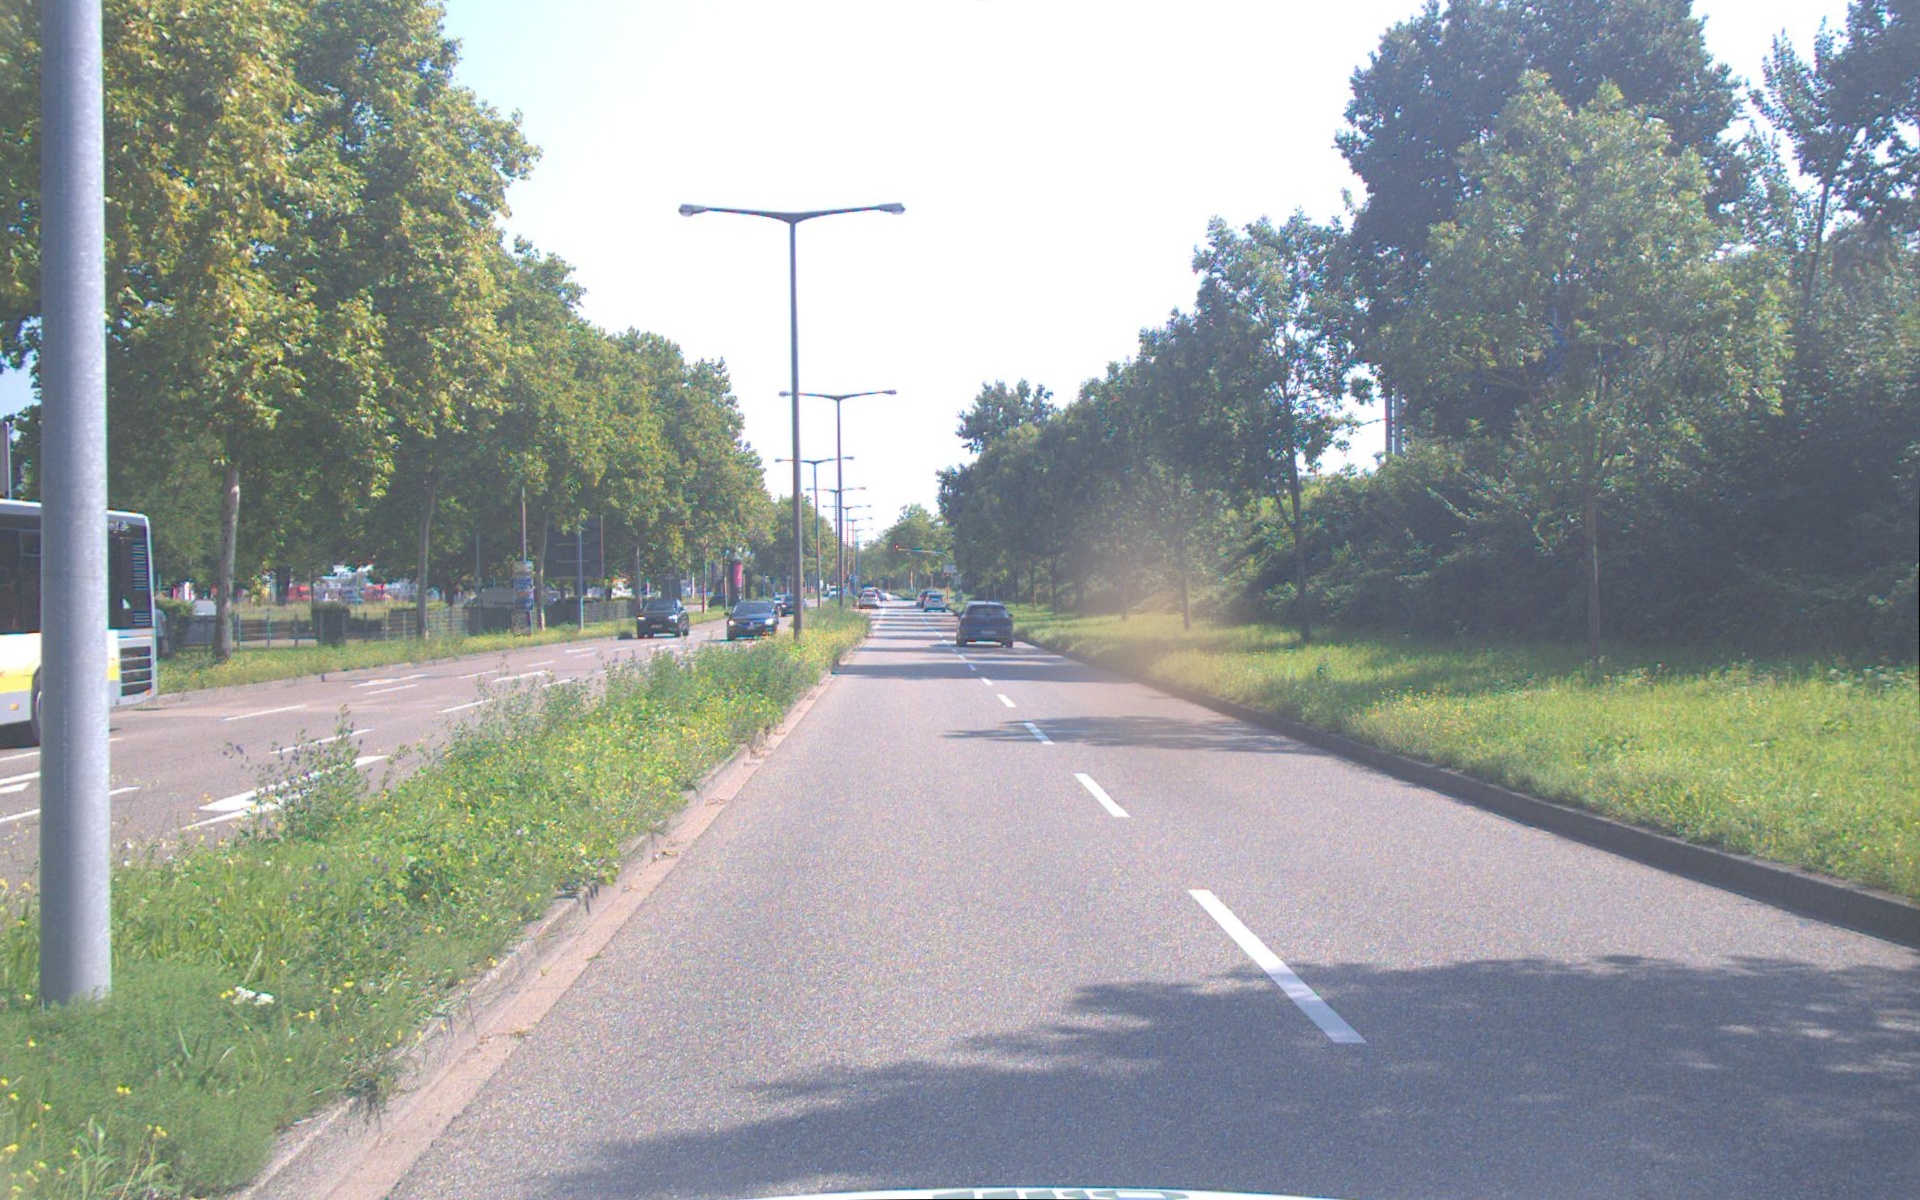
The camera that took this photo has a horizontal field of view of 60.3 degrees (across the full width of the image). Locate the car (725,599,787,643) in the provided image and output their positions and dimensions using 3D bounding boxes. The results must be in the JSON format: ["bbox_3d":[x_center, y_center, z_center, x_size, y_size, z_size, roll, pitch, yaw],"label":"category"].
[{"bbox_3d":[-7.484,0.739,61.118,1.808,1.516,4.642,-2,0,-2],"label":"car"}]

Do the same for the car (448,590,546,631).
[{"bbox_3d":[-28.779,0.642,102.865,5.474,2.377,2.277,1,2,-4],"label":"car"}]

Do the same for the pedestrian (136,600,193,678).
[{"bbox_3d":[-22.050,1.064,45.847,1.245,2.048,1.011,3,3,40],"label":"pedestrian"}]

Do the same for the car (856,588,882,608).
[{"bbox_3d":[-8.083,-0.150,147.678,1.952,1.731,4.000,-1,0,1],"label":"car"}]

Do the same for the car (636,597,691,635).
[{"bbox_3d":[-12.988,0.721,72.571,1.809,1.633,4.607,0,-1,-3],"label":"car"}]

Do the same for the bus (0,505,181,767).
[{"bbox_3d":[-11.305,0.426,16.113,2.609,2.741,10.900,-3,0,-2],"label":"bus"}]

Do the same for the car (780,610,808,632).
[{"bbox_3d":[-12.398,1.533,123.766,1.954,1.613,4.342,-1,0,-4],"label":"car"}]

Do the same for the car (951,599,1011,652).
[{"bbox_3d":[0.645,0.802,53.826,1.745,1.452,3.999,1,2,-2],"label":"car"}]

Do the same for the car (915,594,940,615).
[{"bbox_3d":[-2.708,0.378,138.788,1.954,1.683,3.998,-1,0,-3],"label":"car"}]

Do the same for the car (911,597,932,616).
[{"bbox_3d":[-3.992,0.666,169.828,1.954,1.682,3.998,0,3,-4],"label":"car"}]
